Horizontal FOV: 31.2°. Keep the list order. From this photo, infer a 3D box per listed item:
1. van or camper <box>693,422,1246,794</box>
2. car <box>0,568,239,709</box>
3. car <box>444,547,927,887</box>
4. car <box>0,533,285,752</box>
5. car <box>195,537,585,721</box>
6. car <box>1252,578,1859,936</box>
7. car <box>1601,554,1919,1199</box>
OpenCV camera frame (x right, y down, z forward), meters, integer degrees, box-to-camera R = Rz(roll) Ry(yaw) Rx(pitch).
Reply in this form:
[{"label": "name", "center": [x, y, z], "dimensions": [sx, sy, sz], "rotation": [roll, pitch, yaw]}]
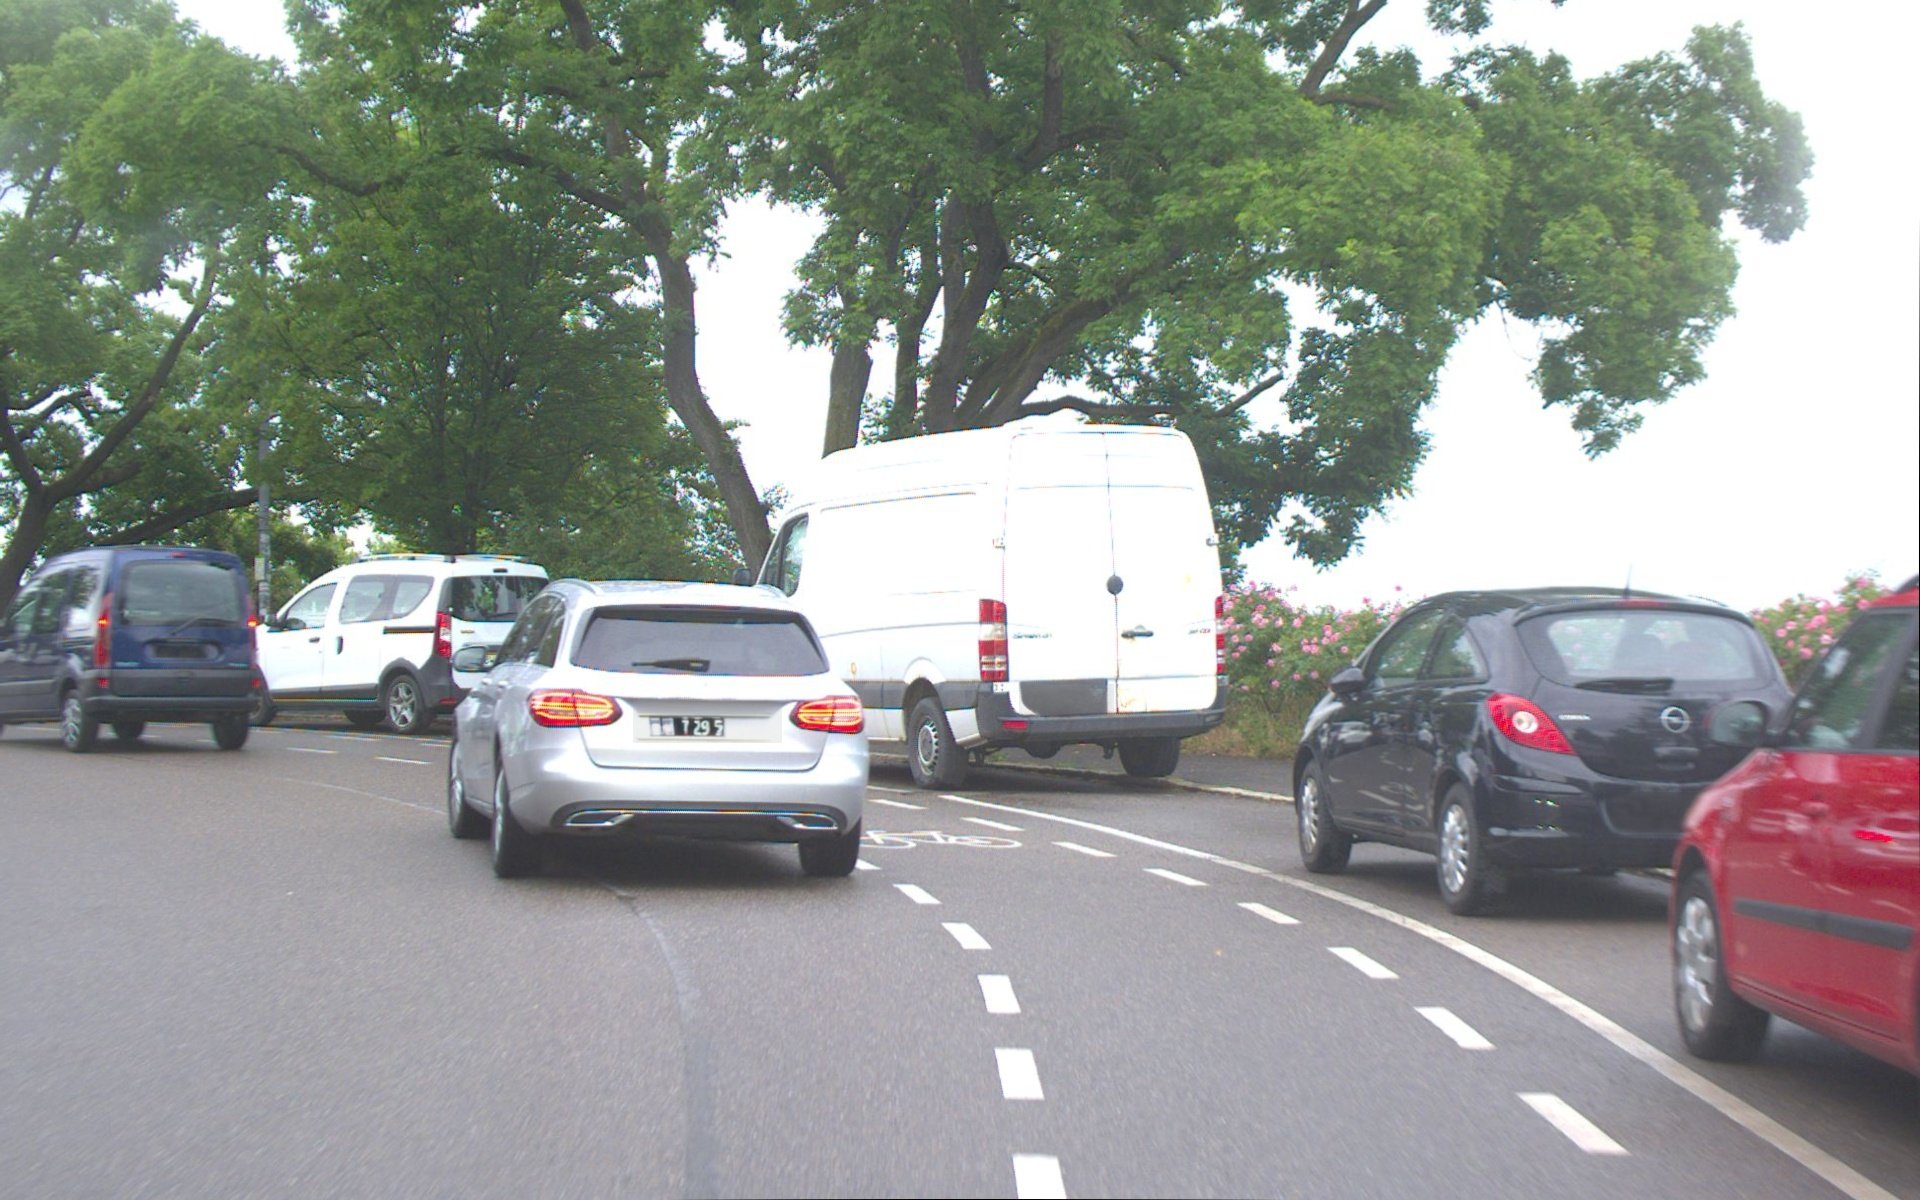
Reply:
[{"label": "van or camper", "center": [-0.106, 0.006, 26.904], "dimensions": [2.066, 2.572, 5.889], "rotation": [-1, 1, -24]}, {"label": "car", "center": [-10.664, 0.419, 40.405], "dimensions": [4.891, 1.537, 1.861], "rotation": [0, 1, 44]}, {"label": "car", "center": [-1.568, 0.563, 17.970], "dimensions": [1.982, 1.548, 4.299], "rotation": [1, -1, -12]}, {"label": "car", "center": [-7.913, 0.344, 31.919], "dimensions": [1.824, 1.876, 4.095], "rotation": [-1, 1, -33]}, {"label": "car", "center": [-6.061, 0.267, 36.250], "dimensions": [4.420, 1.815, 1.748], "rotation": [0, 1, 44]}, {"label": "car", "center": [2.713, 0.663, 16.599], "dimensions": [1.695, 1.439, 3.948], "rotation": [2, 1, -8]}, {"label": "car", "center": [3.044, 0.651, 9.364], "dimensions": [1.620, 1.534, 4.216], "rotation": [-1, 1, -3]}]
